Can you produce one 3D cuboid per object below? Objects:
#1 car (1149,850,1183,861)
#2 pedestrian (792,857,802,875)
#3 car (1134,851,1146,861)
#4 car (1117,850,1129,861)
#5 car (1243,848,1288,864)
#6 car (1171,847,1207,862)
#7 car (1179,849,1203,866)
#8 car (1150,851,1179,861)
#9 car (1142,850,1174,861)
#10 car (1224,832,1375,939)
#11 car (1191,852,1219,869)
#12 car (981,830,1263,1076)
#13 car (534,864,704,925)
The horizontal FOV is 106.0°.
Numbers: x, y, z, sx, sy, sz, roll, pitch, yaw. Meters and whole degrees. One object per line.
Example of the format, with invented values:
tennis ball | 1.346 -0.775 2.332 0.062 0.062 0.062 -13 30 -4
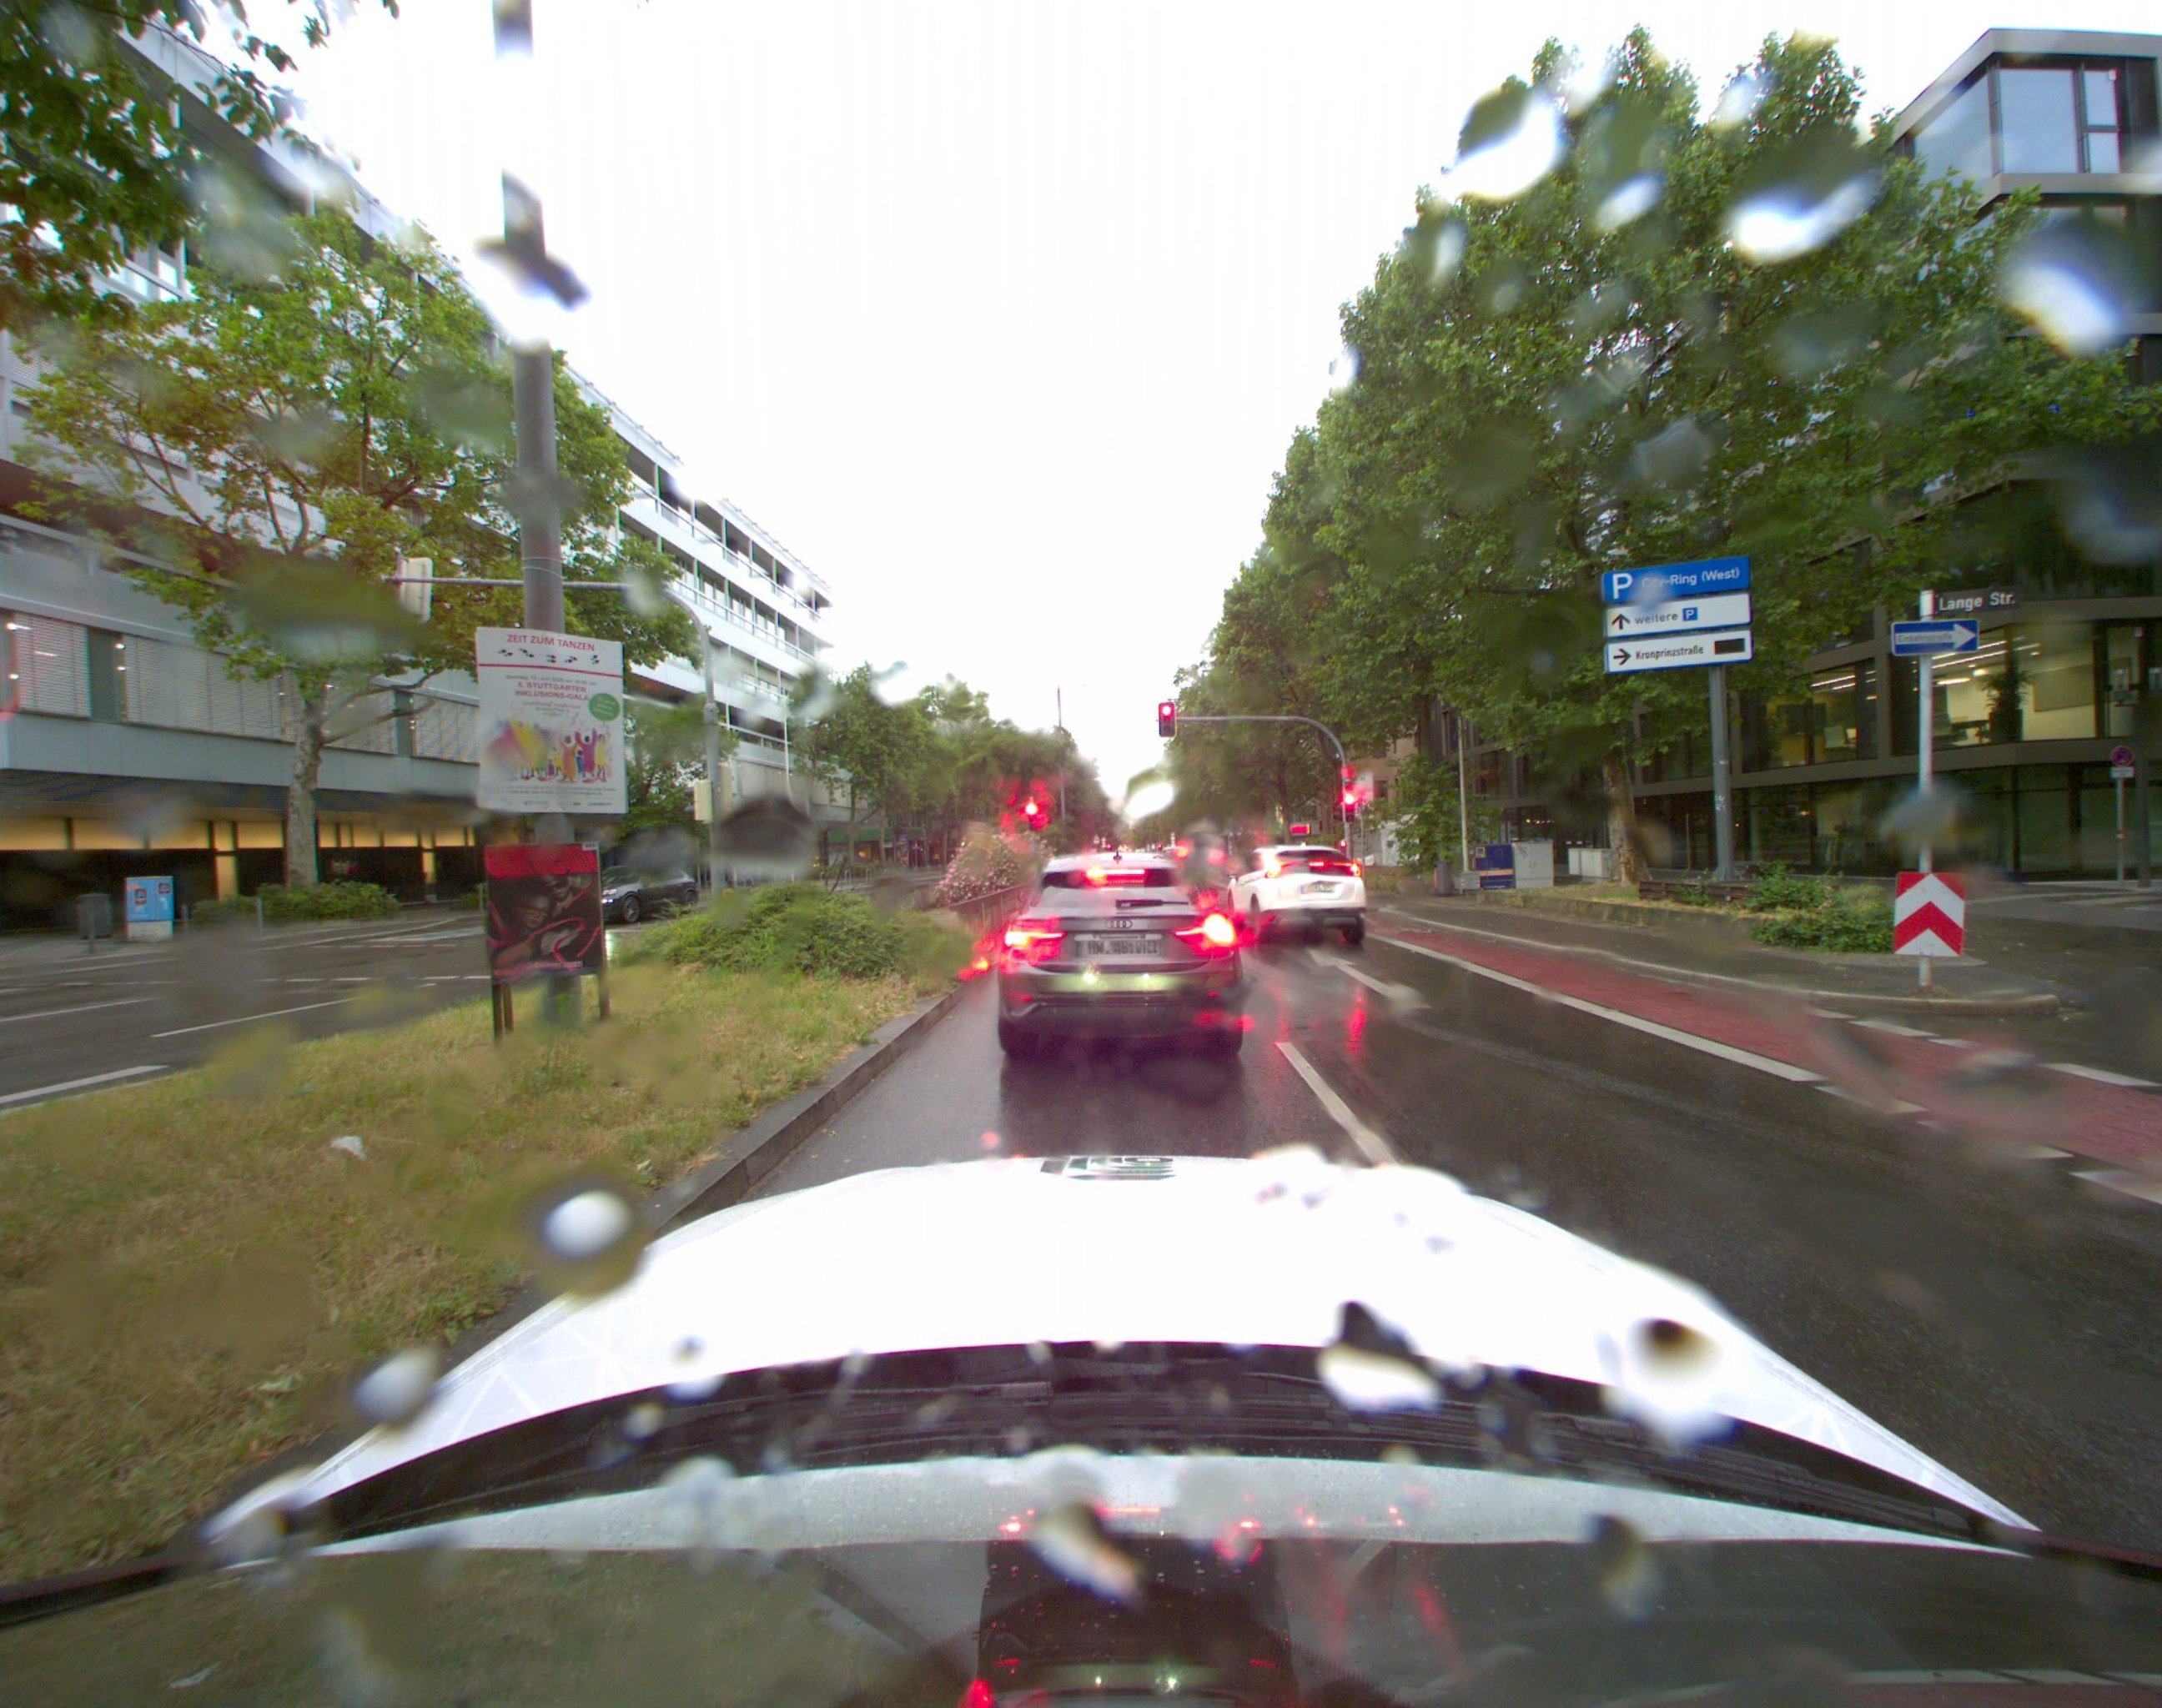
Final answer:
car | 12.837 0.214 123.215 4.594 1.706 2.012 -1 -1 30
pedestrian | -21.614 0.929 61.879 0.637 1.380 0.473 0 -1 -9
car | 10.253 0.323 140.713 1.985 1.651 4.003 0 -1 3
car | 6.754 0.254 132.487 1.889 1.599 3.940 0 -1 2
car | 13.251 0.136 58.522 2.856 1.074 1.465 -1 -1 33
car | 14.482 0.104 109.377 4.548 2.014 1.980 -1 -1 41
car | 10.680 0.384 79.279 1.723 1.571 4.070 0 -1 -2
car | 14.456 0.349 140.690 4.594 1.706 2.012 -1 -1 30
car | 12.167 0.268 128.390 4.594 1.706 2.012 -1 -1 30
car | 3.854 0.526 15.058 1.870 1.697 4.003 0 -1 3
car | 10.424 0.535 68.509 1.865 1.421 4.614 0 0 3
car | 0.331 0.665 7.424 1.842 1.602 4.001 -1 0 2
car | -13.324 1.110 23.903 1.900 1.584 4.754 0 -1 6
